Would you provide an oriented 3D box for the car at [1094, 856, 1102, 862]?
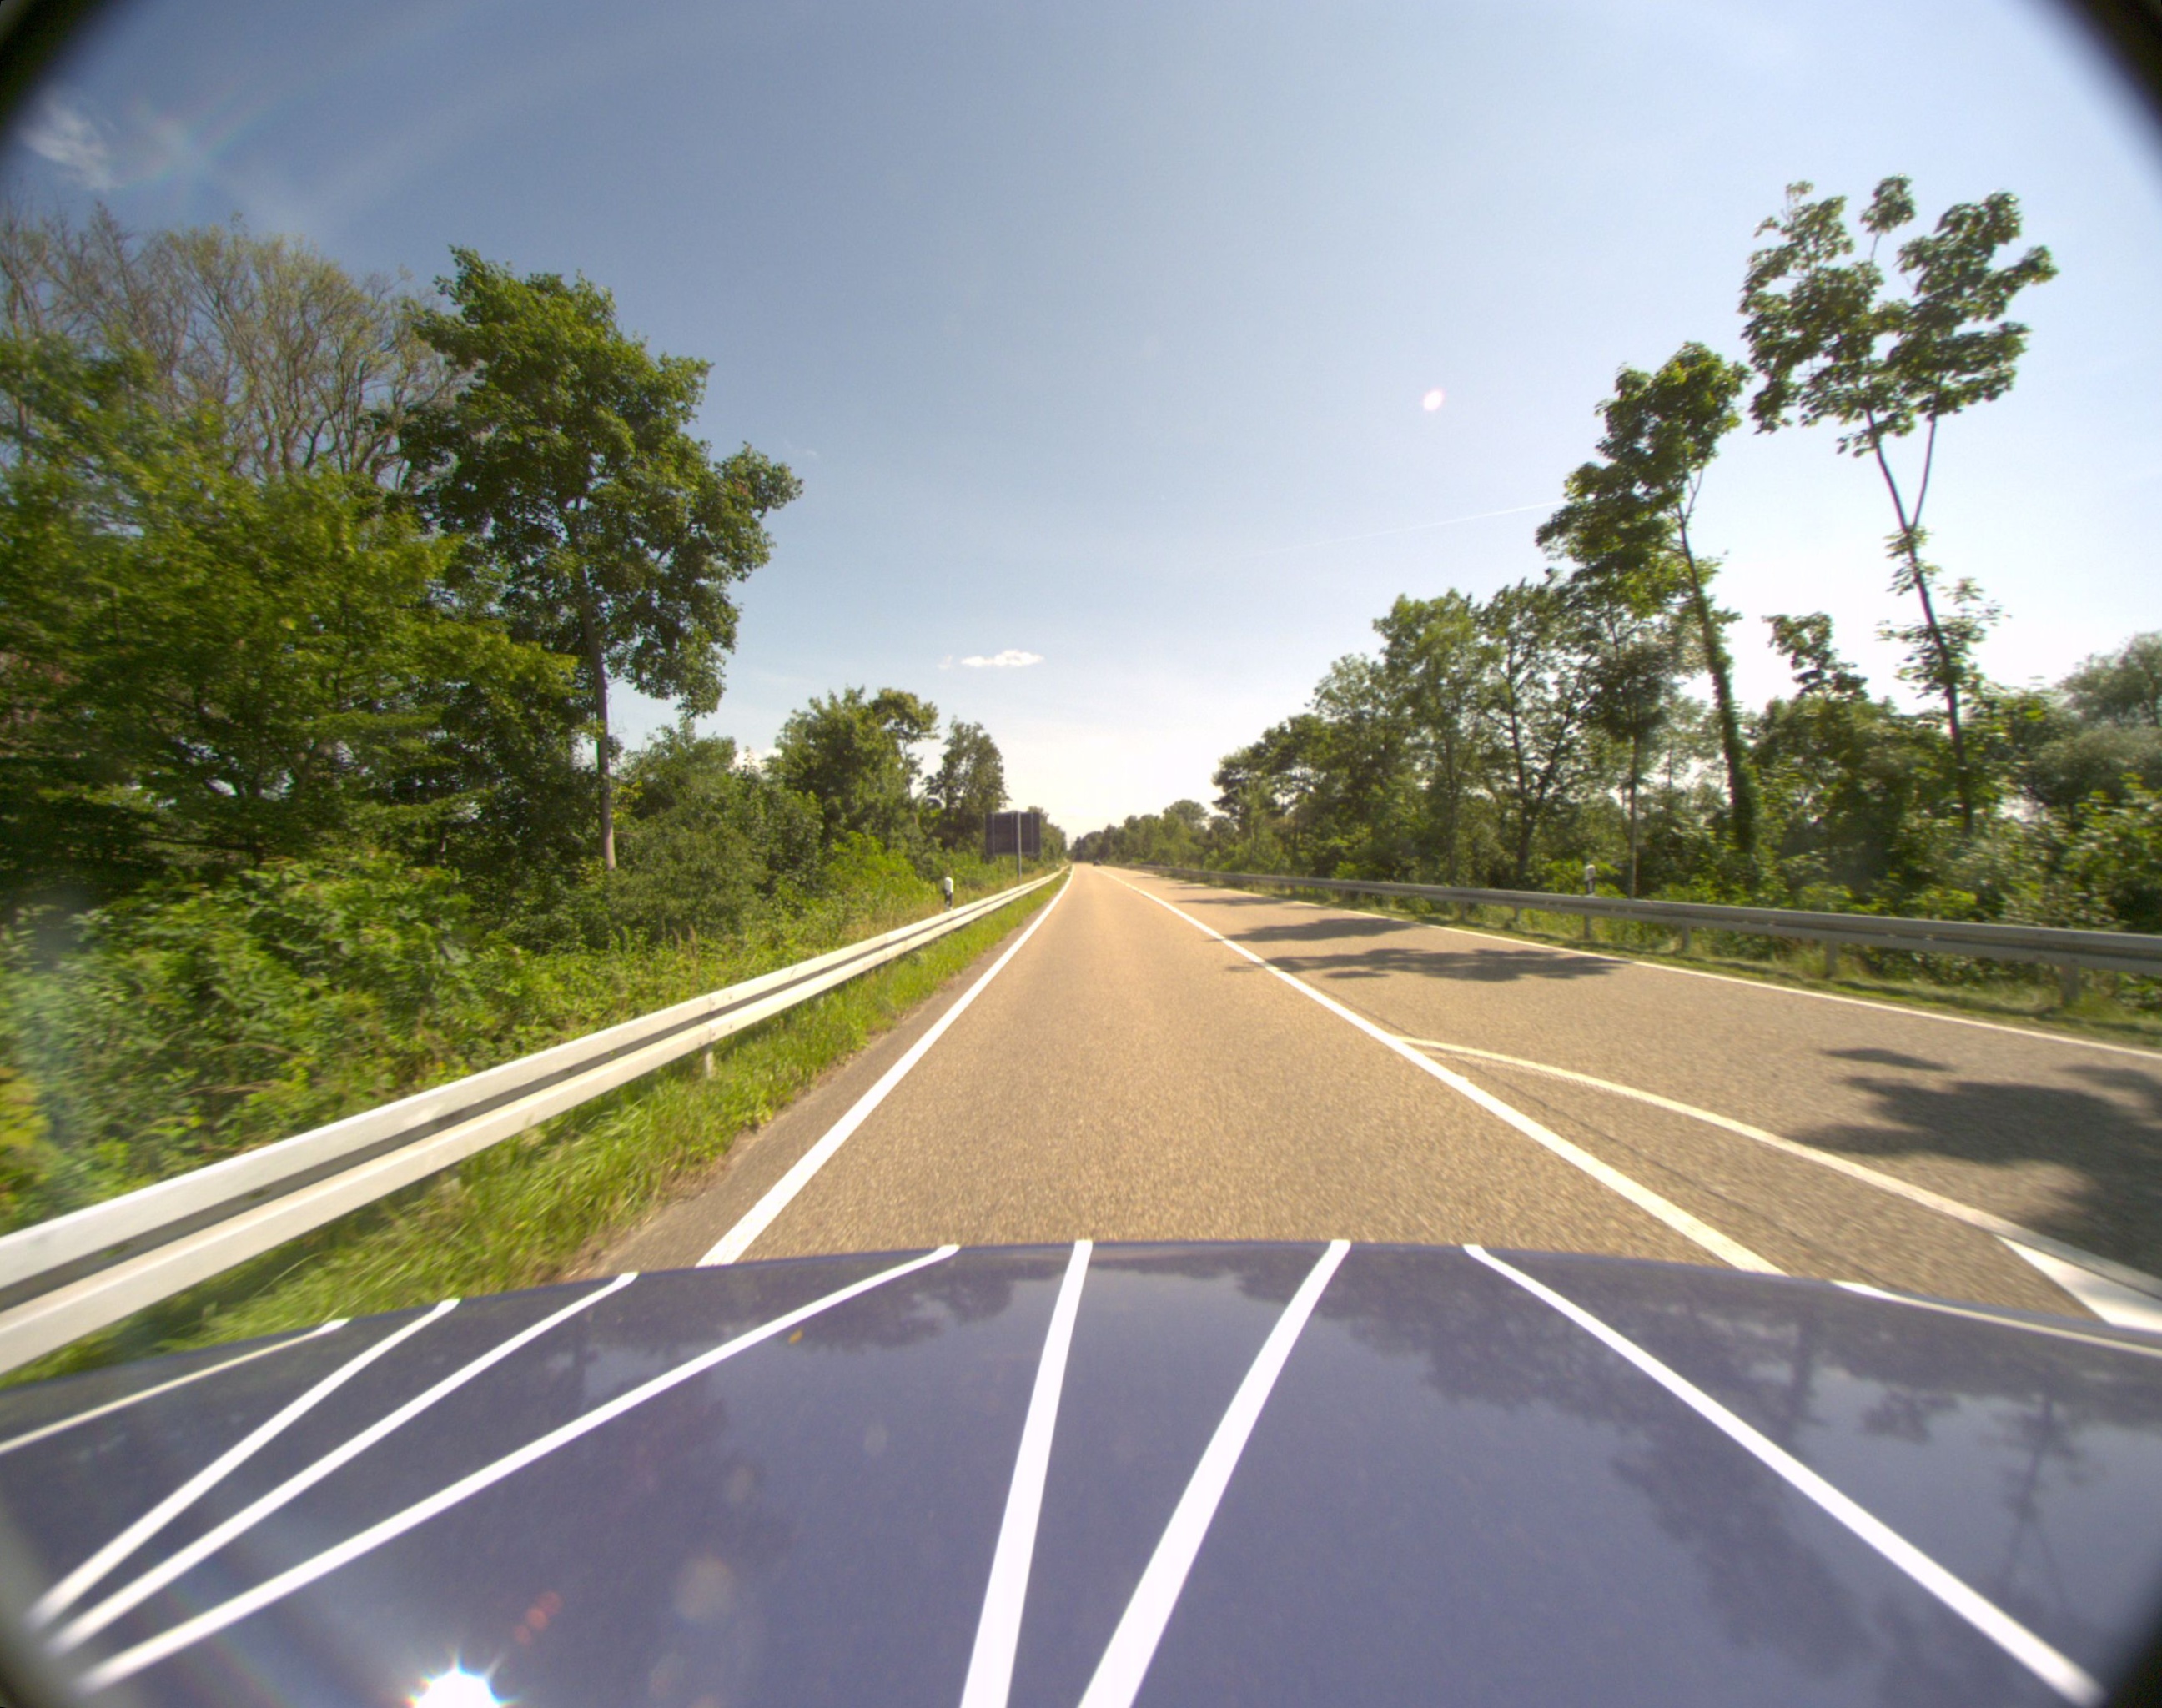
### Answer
[{"bbox_3d":[4.279,1.326,189.701,1.750,1.416,4.677,-1,0,0],"label":"car"}]
